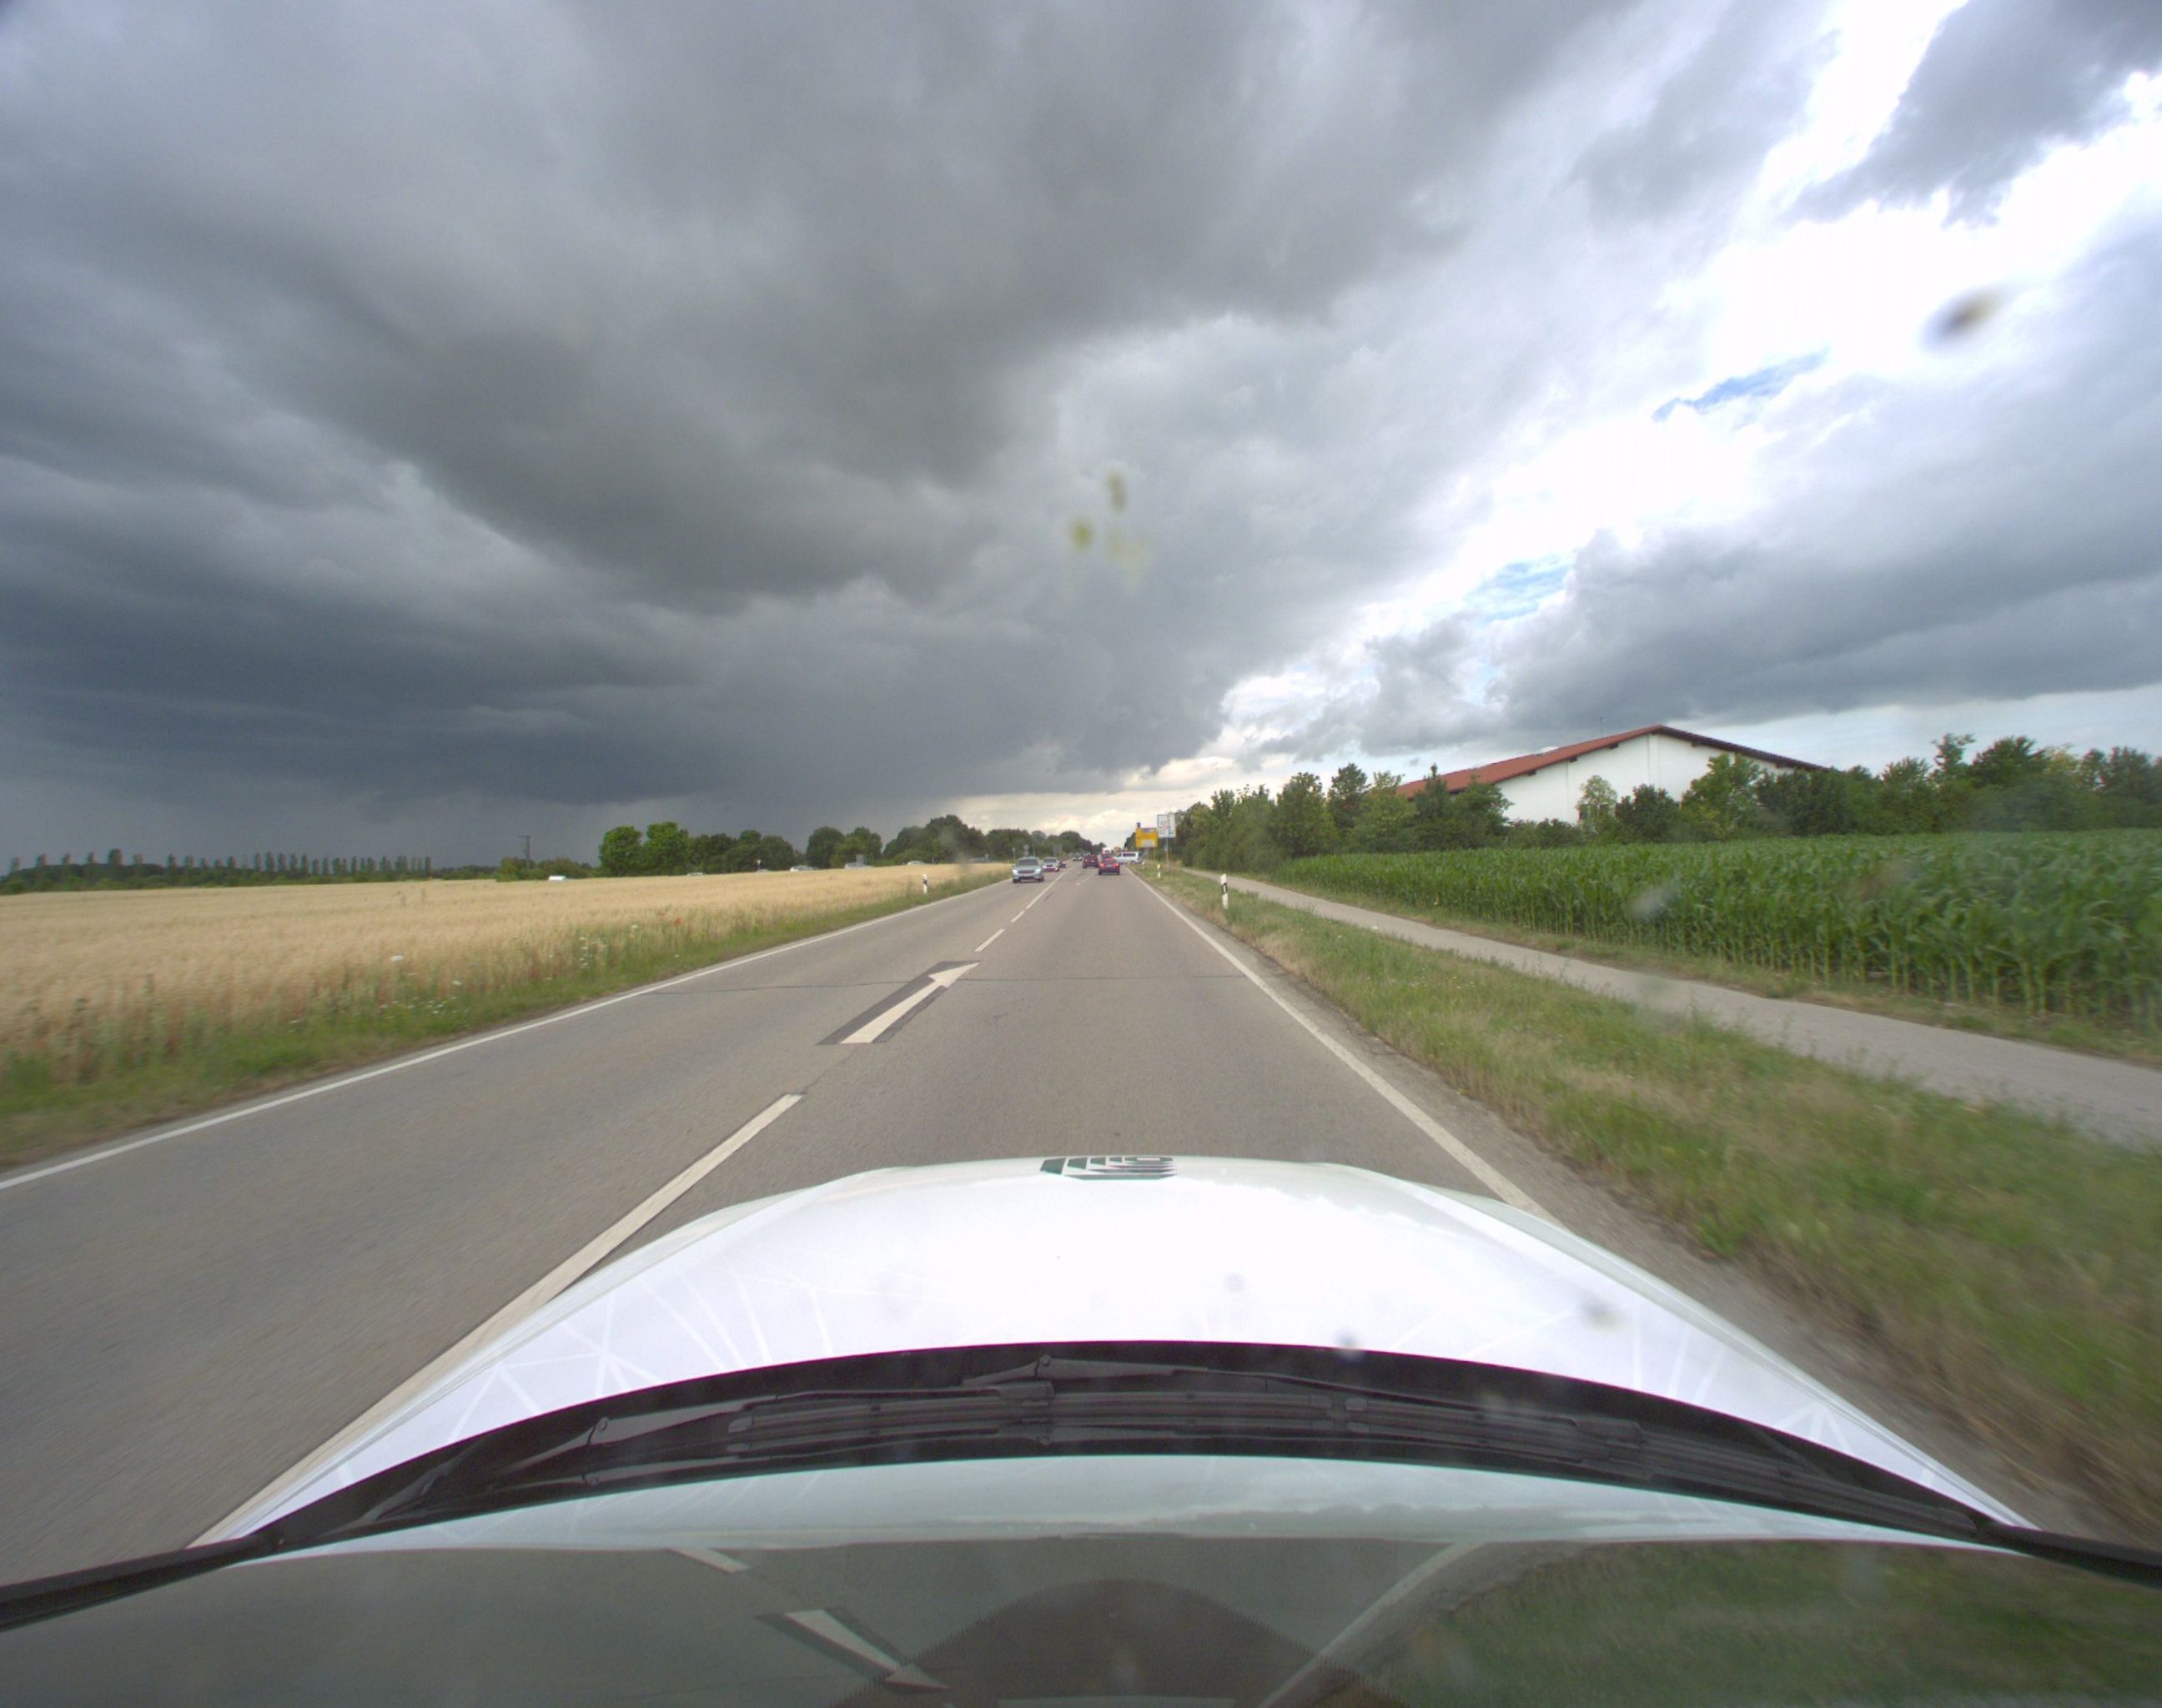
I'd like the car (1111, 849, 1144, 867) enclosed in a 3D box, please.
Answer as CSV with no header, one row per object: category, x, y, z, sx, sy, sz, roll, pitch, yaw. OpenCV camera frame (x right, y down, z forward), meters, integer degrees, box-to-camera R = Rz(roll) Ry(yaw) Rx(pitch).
car,7.115,0.627,125.631,4.822,2.452,2.004,-2,0,-2

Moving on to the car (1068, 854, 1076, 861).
car,-2.241,0.947,200.950,1.639,1.590,4.002,-2,0,2

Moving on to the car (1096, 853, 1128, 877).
car,2.609,0.921,69.650,2.365,1.880,4.476,-4,0,-1

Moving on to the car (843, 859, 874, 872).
car,-33.040,1.721,120.895,4.052,1.649,1.869,-2,0,5

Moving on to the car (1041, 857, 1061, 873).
car,-3.076,1.115,84.181,1.760,1.601,4.932,-2,0,2

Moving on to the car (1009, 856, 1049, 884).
car,-3.325,1.012,53.121,2.057,1.580,4.767,-3,0,1

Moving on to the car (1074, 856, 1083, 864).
car,-0.454,1.238,169.365,1.639,1.590,4.002,-2,0,2

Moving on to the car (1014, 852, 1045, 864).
car,-7.497,0.588,119.281,4.403,1.649,1.500,-2,0,-4

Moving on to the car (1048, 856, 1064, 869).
car,-3.192,1.101,105.097,1.846,1.630,4.002,-2,0,2

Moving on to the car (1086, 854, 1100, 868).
car,1.446,0.841,100.357,1.565,1.701,4.002,-2,0,2
